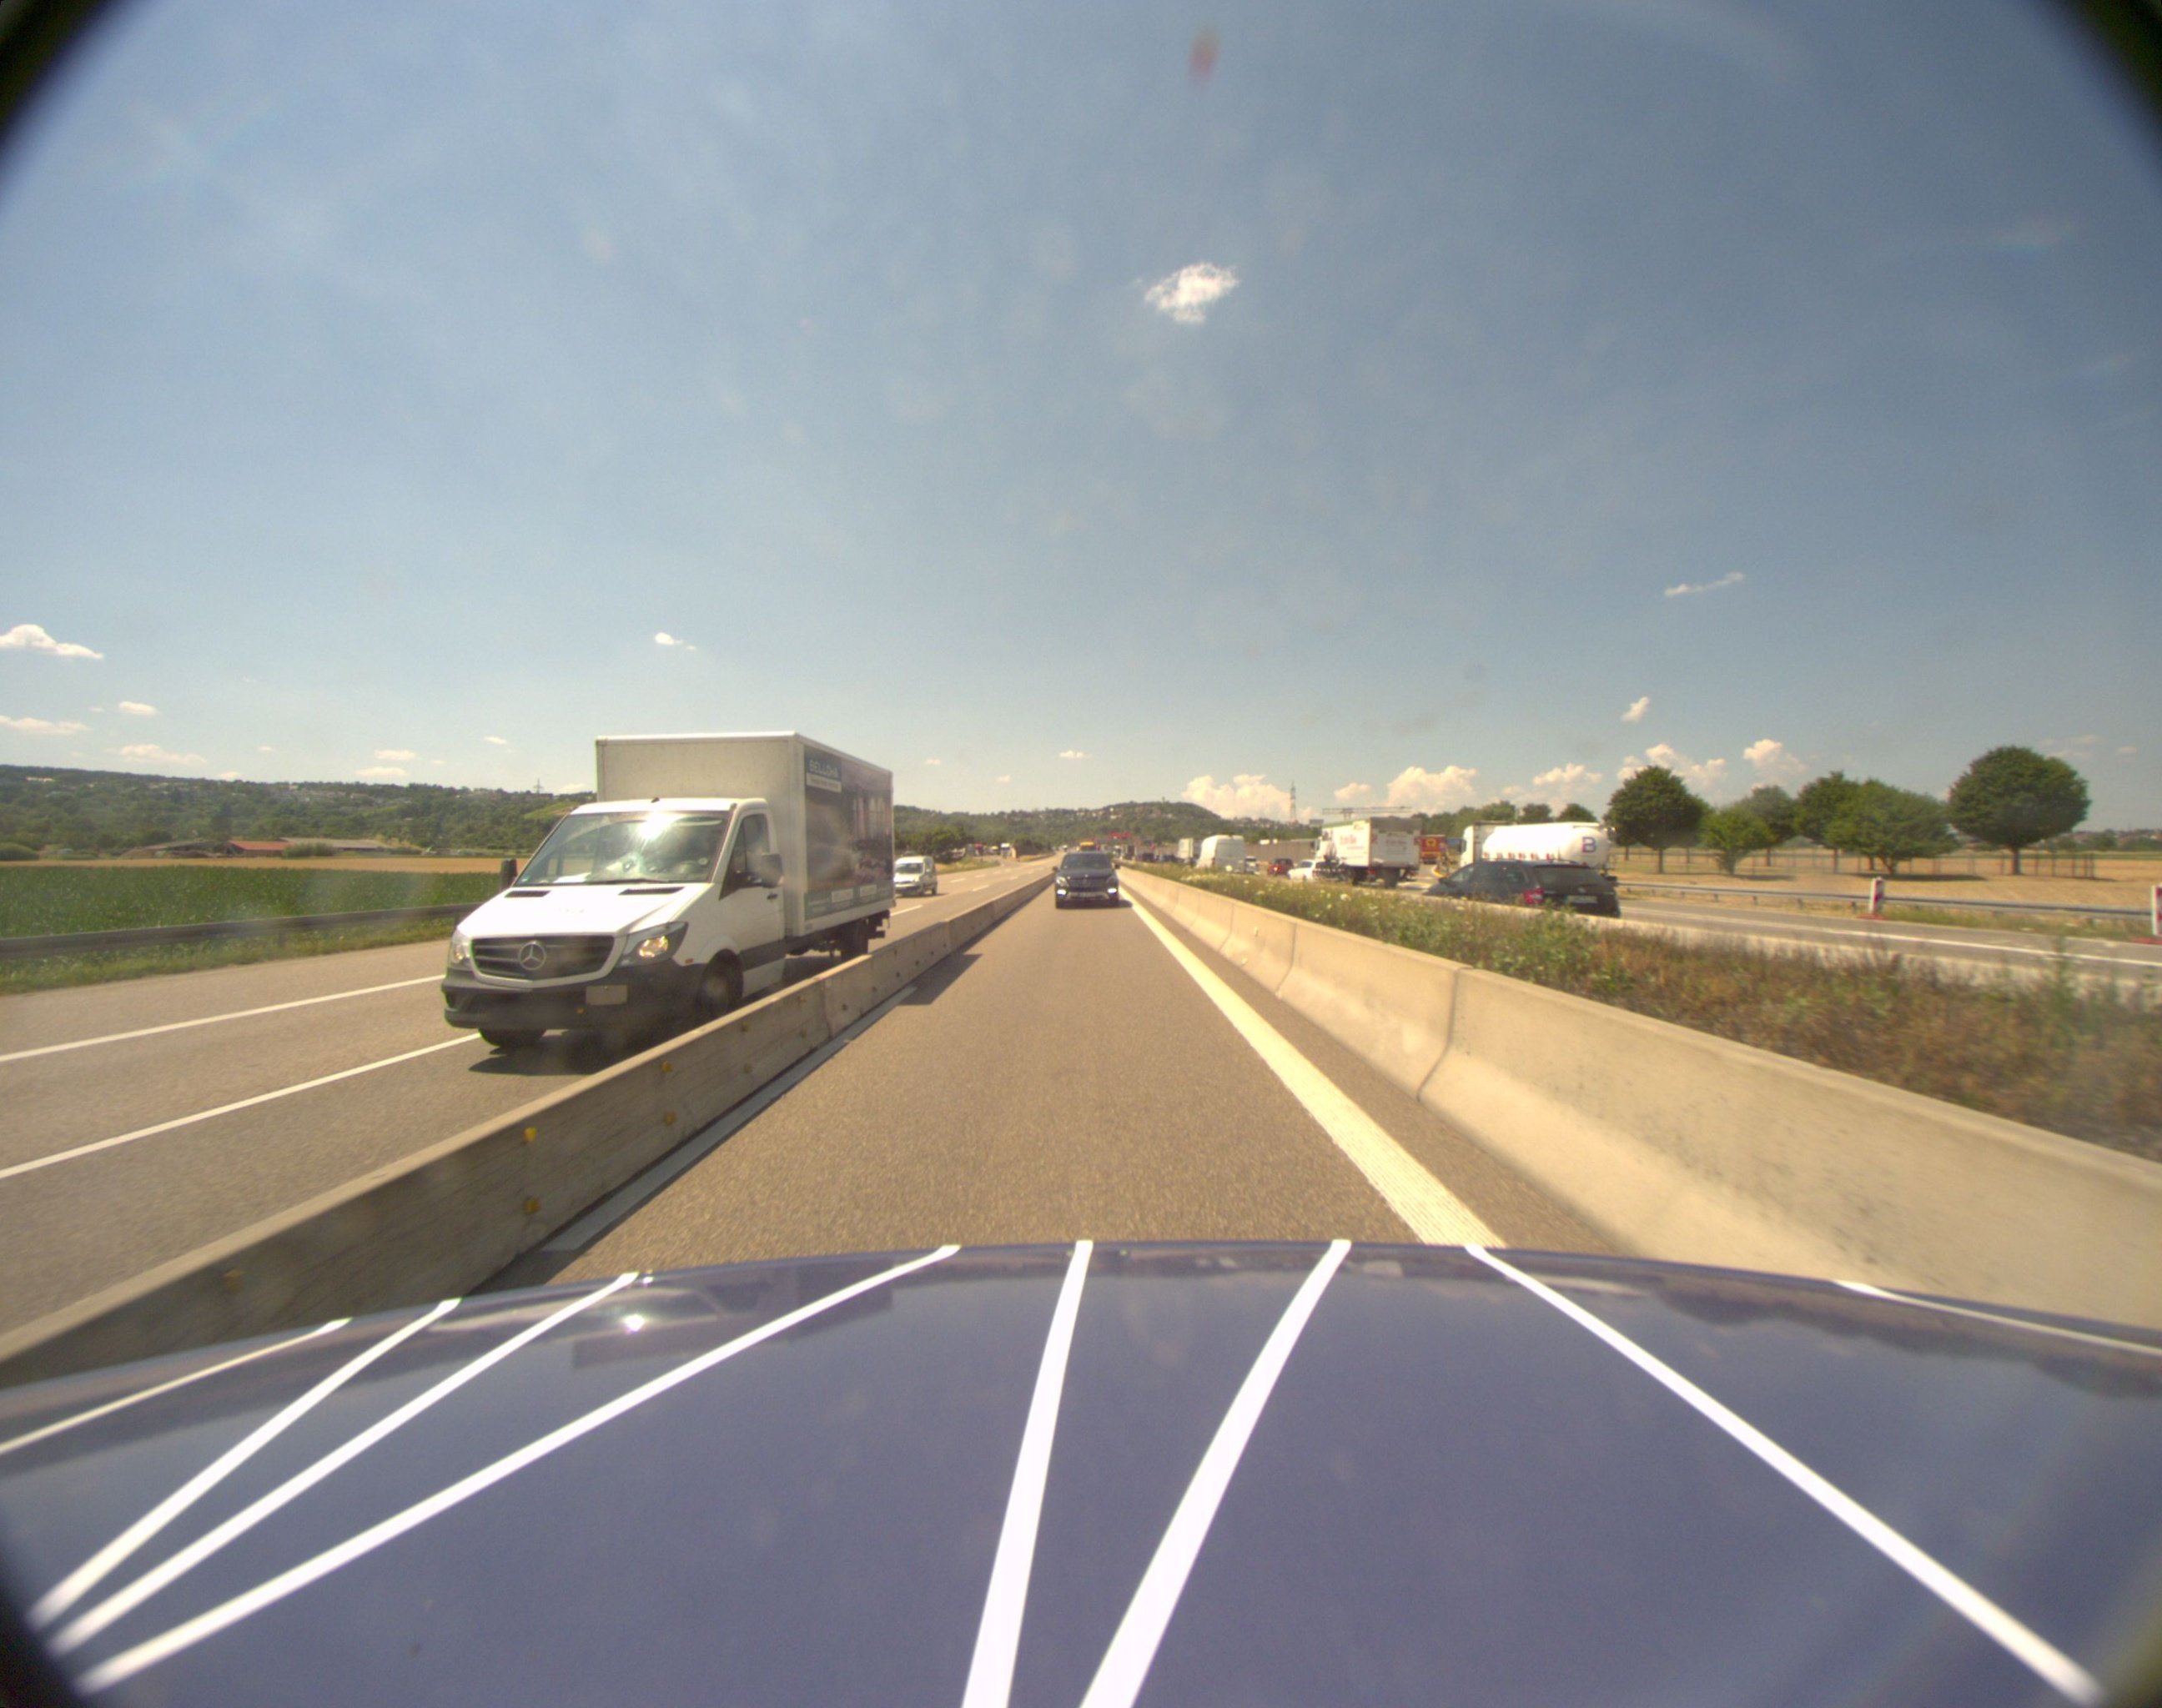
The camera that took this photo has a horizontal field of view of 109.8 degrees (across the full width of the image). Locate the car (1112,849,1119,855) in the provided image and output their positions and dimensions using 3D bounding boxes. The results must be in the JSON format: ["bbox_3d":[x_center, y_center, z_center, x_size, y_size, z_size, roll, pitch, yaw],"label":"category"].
[{"bbox_3d":[11.215,-0.625,247.487,1.998,1.749,4.644,-1,0,1],"label":"car"}]

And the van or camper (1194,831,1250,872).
[{"bbox_3d":[8.386,-0.125,45.798,2.040,2.208,7.207,-2,0,0],"label":"van or camper"}]

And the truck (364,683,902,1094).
[{"bbox_3d":[-4.202,0.288,9.153,2.326,3.049,6.751,-2,0,1],"label":"truck"}]

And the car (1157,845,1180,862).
[{"bbox_3d":[8.453,-0.018,74.045,1.786,1.580,4.541,-1,0,1],"label":"car"}]

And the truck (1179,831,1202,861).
[{"bbox_3d":[16.798,-1.229,116.636,2.878,4.350,4.902,1,1,1],"label":"truck"}]

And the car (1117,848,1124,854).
[{"bbox_3d":[10.942,-0.797,209.556,1.659,1.510,3.999,-1,1,1],"label":"car"}]

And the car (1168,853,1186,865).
[{"bbox_3d":[12.910,0.636,102.151,1.851,1.474,4.921,2,0,1],"label":"car"}]

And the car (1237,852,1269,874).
[{"bbox_3d":[13.160,0.680,58.318,1.563,1.613,4.044,0,0,0],"label":"car"}]

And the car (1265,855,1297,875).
[{"bbox_3d":[16.034,0.861,61.110,1.566,1.507,3.937,-1,0,1],"label":"car"}]

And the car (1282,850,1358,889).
[{"bbox_3d":[11.570,0.705,37.286,1.891,1.700,5.521,1,0,-1],"label":"car"}]

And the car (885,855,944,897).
[{"bbox_3d":[-7.375,0.932,33.953,1.630,1.726,3.973,-2,0,1],"label":"car"}]

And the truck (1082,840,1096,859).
[{"bbox_3d":[1.451,-0.835,131.567,2.272,3.139,8.186,-2,1,1],"label":"truck"}]

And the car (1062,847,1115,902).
[{"bbox_3d":[0.288,0.670,26.409,1.630,1.711,3.865,-2,0,1],"label":"car"}]

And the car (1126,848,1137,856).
[{"bbox_3d":[10.050,-0.395,151.383,1.895,1.608,4.820,-1,1,1],"label":"car"}]

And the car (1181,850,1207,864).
[{"bbox_3d":[12.135,0.304,81.744,2.019,1.378,5.085,0,0,0],"label":"car"}]

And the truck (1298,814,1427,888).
[{"bbox_3d":[15.911,-0.169,44.520,2.801,3.588,13.288,2,0,1],"label":"truck"}]

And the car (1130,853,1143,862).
[{"bbox_3d":[8.410,0.501,115.643,1.659,1.344,4.266,-1,0,1],"label":"car"}]

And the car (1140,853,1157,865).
[{"bbox_3d":[9.067,0.604,102.745,1.848,1.560,5.344,-1,0,1],"label":"car"}]

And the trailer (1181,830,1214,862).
[{"bbox_3d":[16.706,-1.125,109.875,2.900,4.349,12.992,1,0,1],"label":"trailer"}]

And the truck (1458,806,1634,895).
[{"bbox_3d":[23.471,-0.151,39.645,2.904,3.755,13.298,2,0,9],"label":"truck"}]

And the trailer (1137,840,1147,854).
[{"bbox_3d":[18.005,-2.081,225.318,2.654,3.851,6.616,0,1,1],"label":"trailer"}]

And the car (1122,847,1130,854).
[{"bbox_3d":[10.418,-0.783,176.000,1.679,1.510,4.507,-1,1,1],"label":"car"}]

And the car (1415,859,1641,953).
[{"bbox_3d":[8.054,0.839,14.274,1.601,1.460,4.533,0,0,0],"label":"car"}]
